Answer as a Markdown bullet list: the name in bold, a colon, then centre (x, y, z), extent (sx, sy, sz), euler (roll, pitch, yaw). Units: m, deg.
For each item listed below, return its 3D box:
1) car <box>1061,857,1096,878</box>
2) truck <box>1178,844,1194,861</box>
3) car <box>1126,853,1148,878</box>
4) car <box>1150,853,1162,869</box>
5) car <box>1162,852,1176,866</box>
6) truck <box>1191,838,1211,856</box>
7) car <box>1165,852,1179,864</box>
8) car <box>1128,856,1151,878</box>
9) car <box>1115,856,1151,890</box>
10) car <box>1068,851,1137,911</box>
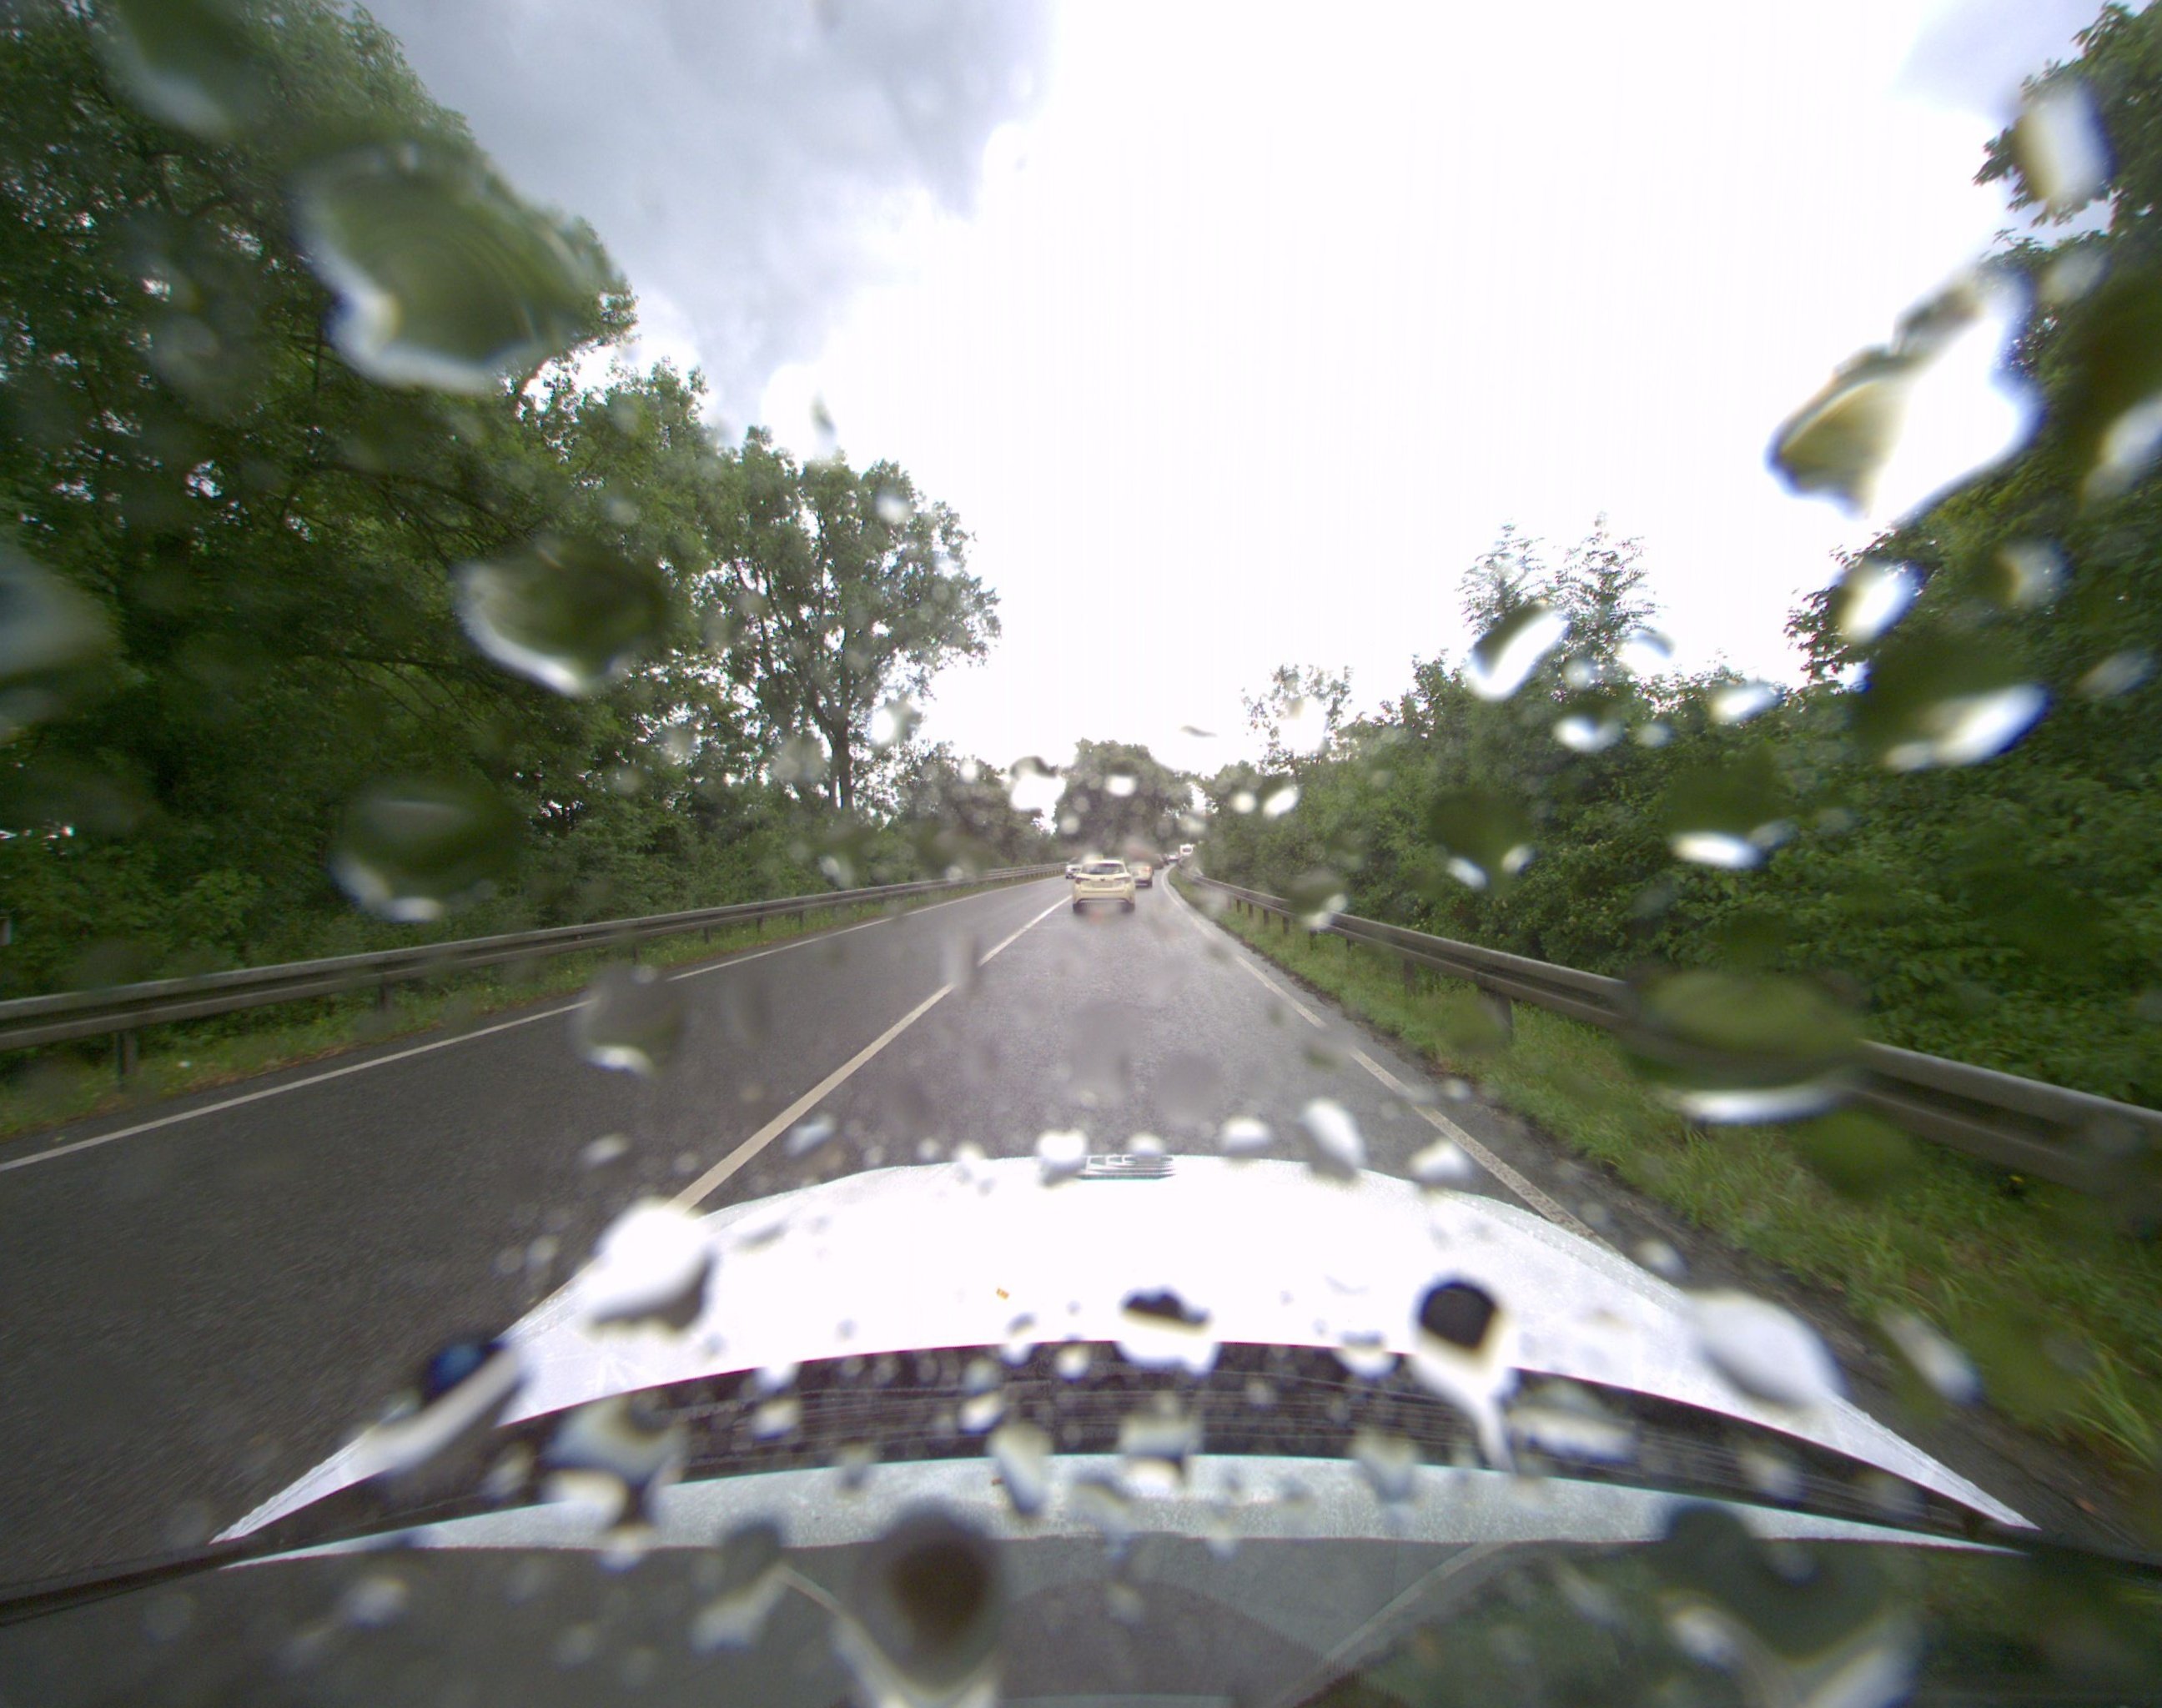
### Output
- **car**: centre (-0.143, 0.951, 56.789), extent (1.802, 1.355, 4.009), euler (-1, -1, 8)
- **truck**: centre (18.762, -0.230, 145.270), extent (2.537, 2.713, 7.546), euler (-1, -1, 6)
- **car**: centre (3.561, 0.760, 52.373), extent (1.296, 1.547, 3.261), euler (-1, -1, 2)
- **car**: centre (7.490, 0.664, 81.049), extent (1.161, 1.547, 2.608), euler (-1, -1, 6)
- **car**: centre (10.455, 0.643, 96.507), extent (1.608, 1.613, 3.627), euler (-1, -1, 6)
- **truck**: centre (25.160, -1.407, 170.710), extent (3.083, 3.681, 7.030), euler (-1, -1, 16)
- **car**: centre (13.075, 0.567, 116.345), extent (1.759, 1.547, 3.823), euler (-1, -1, 9)
- **car**: centre (4.520, 1.042, 62.662), extent (1.604, 1.547, 3.818), euler (-2, -2, 4)
- **car**: centre (2.538, 0.921, 40.061), extent (1.660, 1.580, 3.895), euler (-1, -1, 3)
- **car**: centre (0.721, 0.769, 24.180), extent (1.825, 1.580, 4.161), euler (-1, -1, 4)
